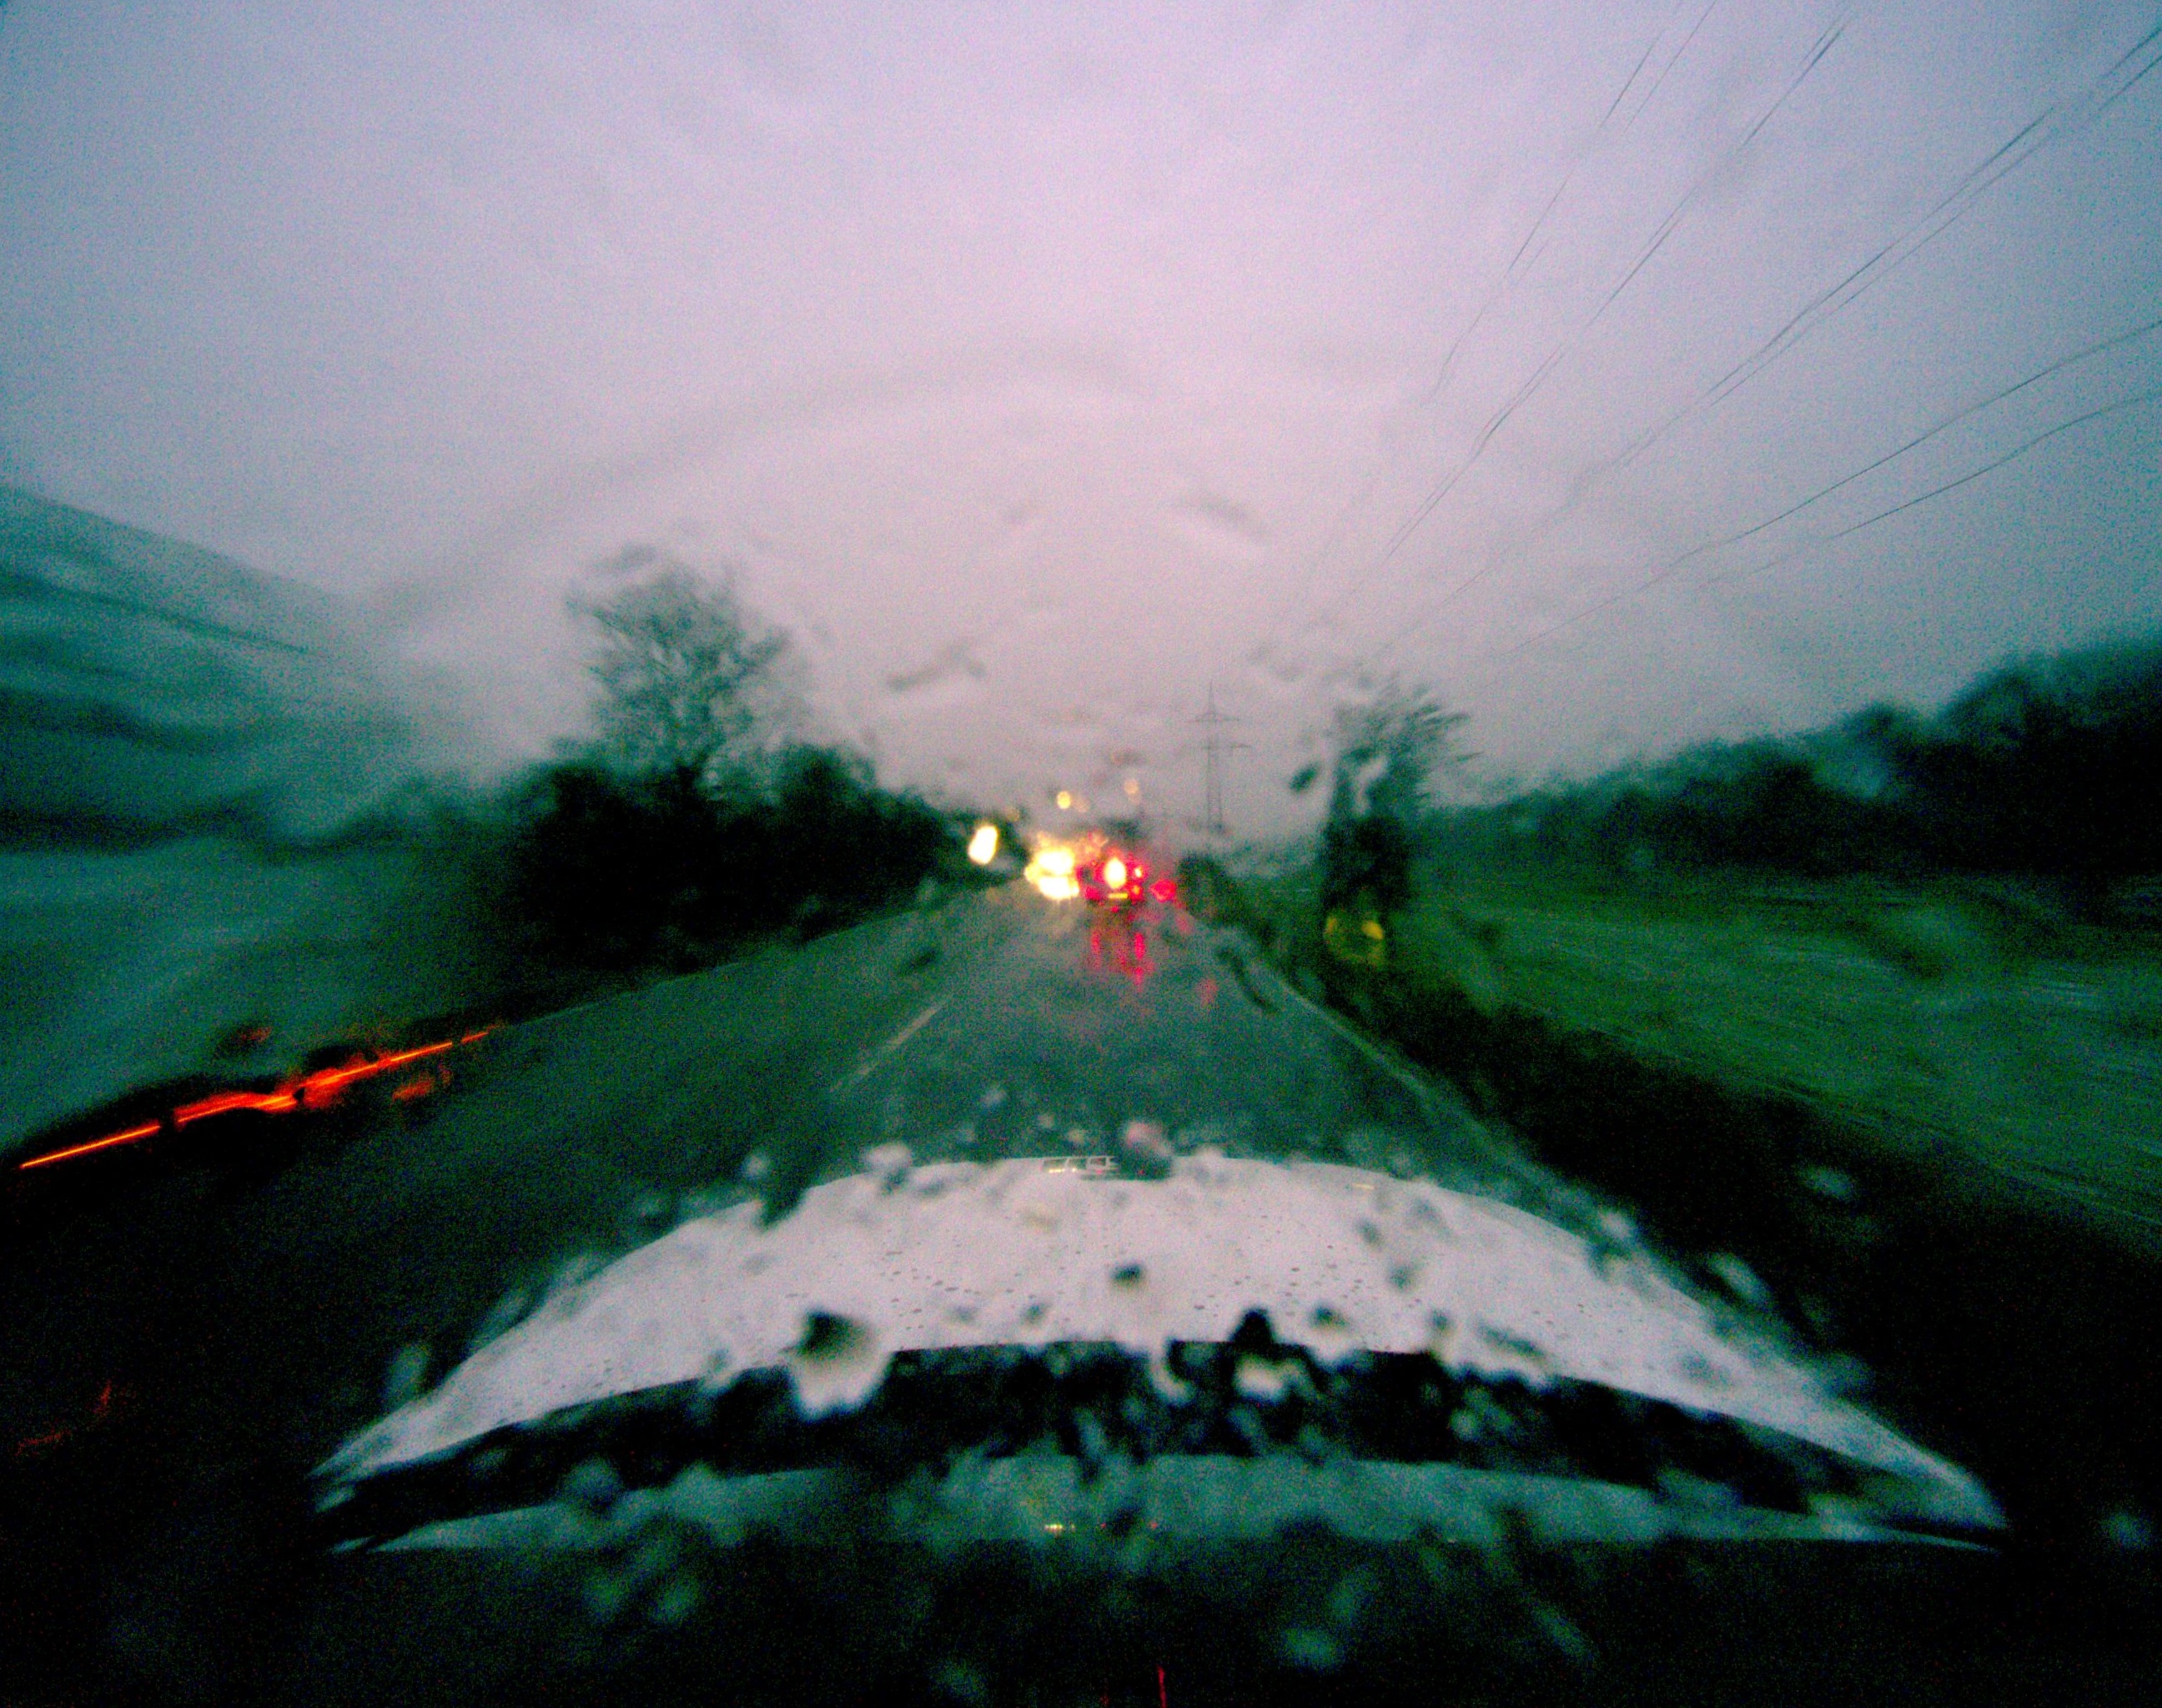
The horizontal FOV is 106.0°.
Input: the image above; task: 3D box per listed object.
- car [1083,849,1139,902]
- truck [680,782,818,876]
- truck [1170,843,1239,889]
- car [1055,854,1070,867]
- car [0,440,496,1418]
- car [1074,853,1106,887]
[{"bbox_3d":[0.850,0.589,23.539,1.495,1.398,3.200,-1,0,1],"label":"car"},{"bbox_3d":[-24.781,-1.605,62.481,3.750,6.288,15.743,-1,0,2],"label":"truck"},{"bbox_3d":[7.567,0.695,51.381,2.496,2.571,10.800,0,0,-1],"label":"truck"},{"bbox_3d":[-2.242,0.782,98.724,1.682,1.507,4.414,-1,0,1],"label":"car"},{"bbox_3d":[-3.972,0.212,0.897,1.945,2.674,6.274,-1,0,2],"label":"car"},{"bbox_3d":[0.572,0.966,50.002,1.846,2.014,4.001,-1,0,1],"label":"car"}]
